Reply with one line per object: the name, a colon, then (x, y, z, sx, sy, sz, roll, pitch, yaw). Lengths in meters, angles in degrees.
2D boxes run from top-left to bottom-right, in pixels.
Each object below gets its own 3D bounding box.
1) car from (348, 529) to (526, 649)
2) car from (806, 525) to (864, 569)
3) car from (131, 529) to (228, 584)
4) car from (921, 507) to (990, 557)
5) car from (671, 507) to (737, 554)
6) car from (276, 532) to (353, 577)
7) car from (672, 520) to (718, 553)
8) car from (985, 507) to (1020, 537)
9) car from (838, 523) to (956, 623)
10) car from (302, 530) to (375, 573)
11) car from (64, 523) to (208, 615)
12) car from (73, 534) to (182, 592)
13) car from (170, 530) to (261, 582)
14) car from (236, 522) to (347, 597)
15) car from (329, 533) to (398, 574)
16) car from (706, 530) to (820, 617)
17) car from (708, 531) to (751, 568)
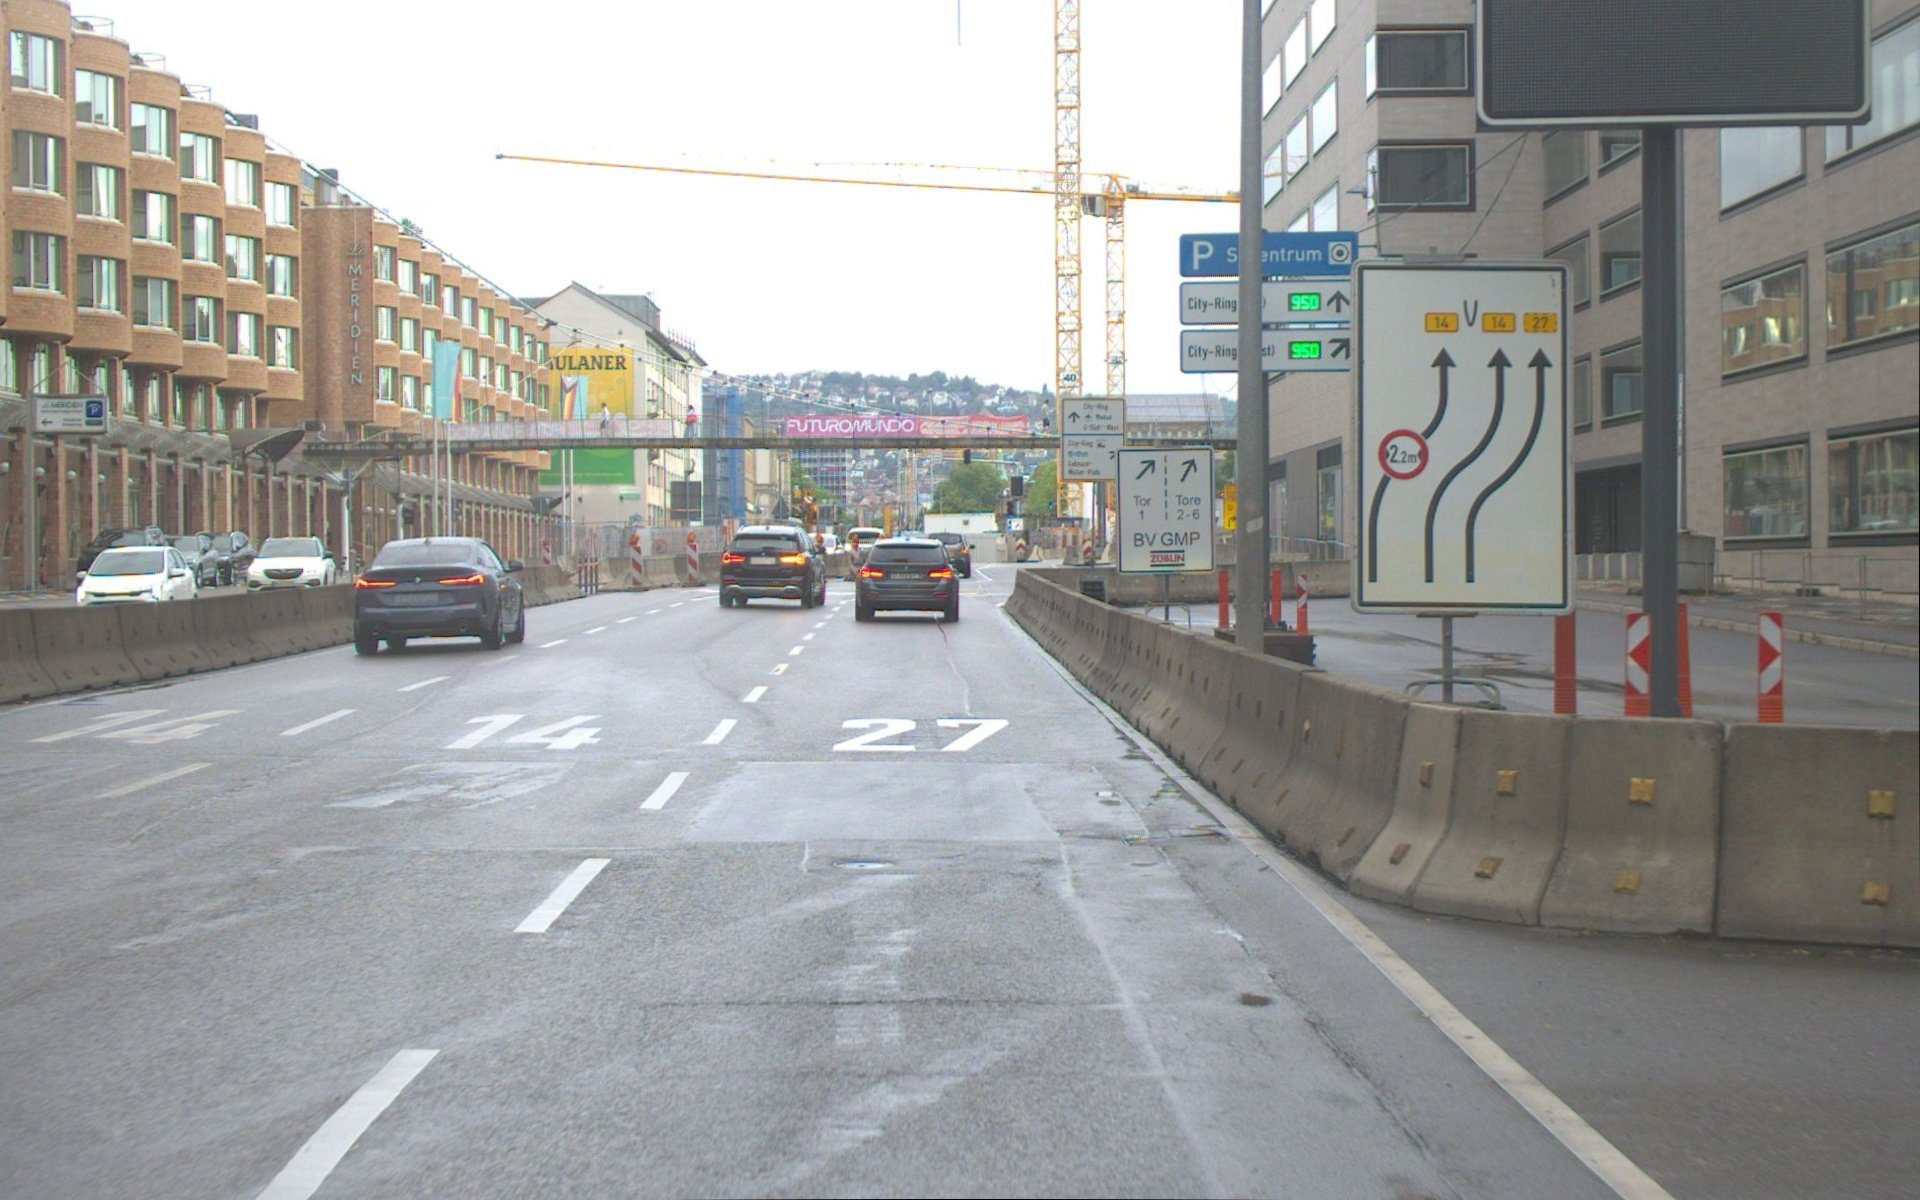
car: (-6.614, -0.172, 43.871, 1.790, 1.421, 4.385, -1, 1, -3)
car: (-4.704, -1.999, 129.884, 1.993, 1.614, 4.763, -1, 1, 0)
car: (-24.202, -1.354, 106.729, 1.993, 1.614, 4.318, -1, 1, 0)
car: (-0.141, -2.391, 121.172, 1.900, 1.687, 3.999, -1, 1, 7)
car: (-9.200, -2.509, 124.015, 1.993, 1.614, 4.763, -1, 1, 0)
car: (-24.172, -1.716, 128.826, 1.993, 1.614, 4.690, -1, 1, 0)
car: (-13.224, -3.158, 171.672, 1.993, 1.614, 4.763, -1, 1, -1)
car: (2.543, -4.610, 204.113, 1.900, 1.687, 4.000, -1, 1, 2)
car: (-1.088, -0.497, 60.821, 1.900, 1.687, 4.000, -1, 1, 1)
car: (-24.311, -1.898, 134.692, 1.993, 1.614, 4.690, -1, 1, 0)
car: (-14.264, -0.557, 59.679, 1.602, 1.437, 3.658, -1, 3, 0)
car: (-24.121, -1.084, 99.709, 1.993, 1.614, 4.763, -1, 1, 0)
car: (-24.129, -1.435, 111.600, 1.993, 1.614, 4.318, -1, 1, 0)
car: (-15.963, -0.988, 82.265, 1.820, 1.613, 4.192, -1, 3, 0)
car: (-24.349, -1.904, 140.536, 1.993, 1.614, 4.690, -1, 1, 0)
car: (-3.978, -0.568, 70.069, 1.900, 1.687, 4.000, -1, 1, 2)
car: (-12.636, -2.766, 188.615, 1.993, 2.007, 4.000, -1, 1, 1)
